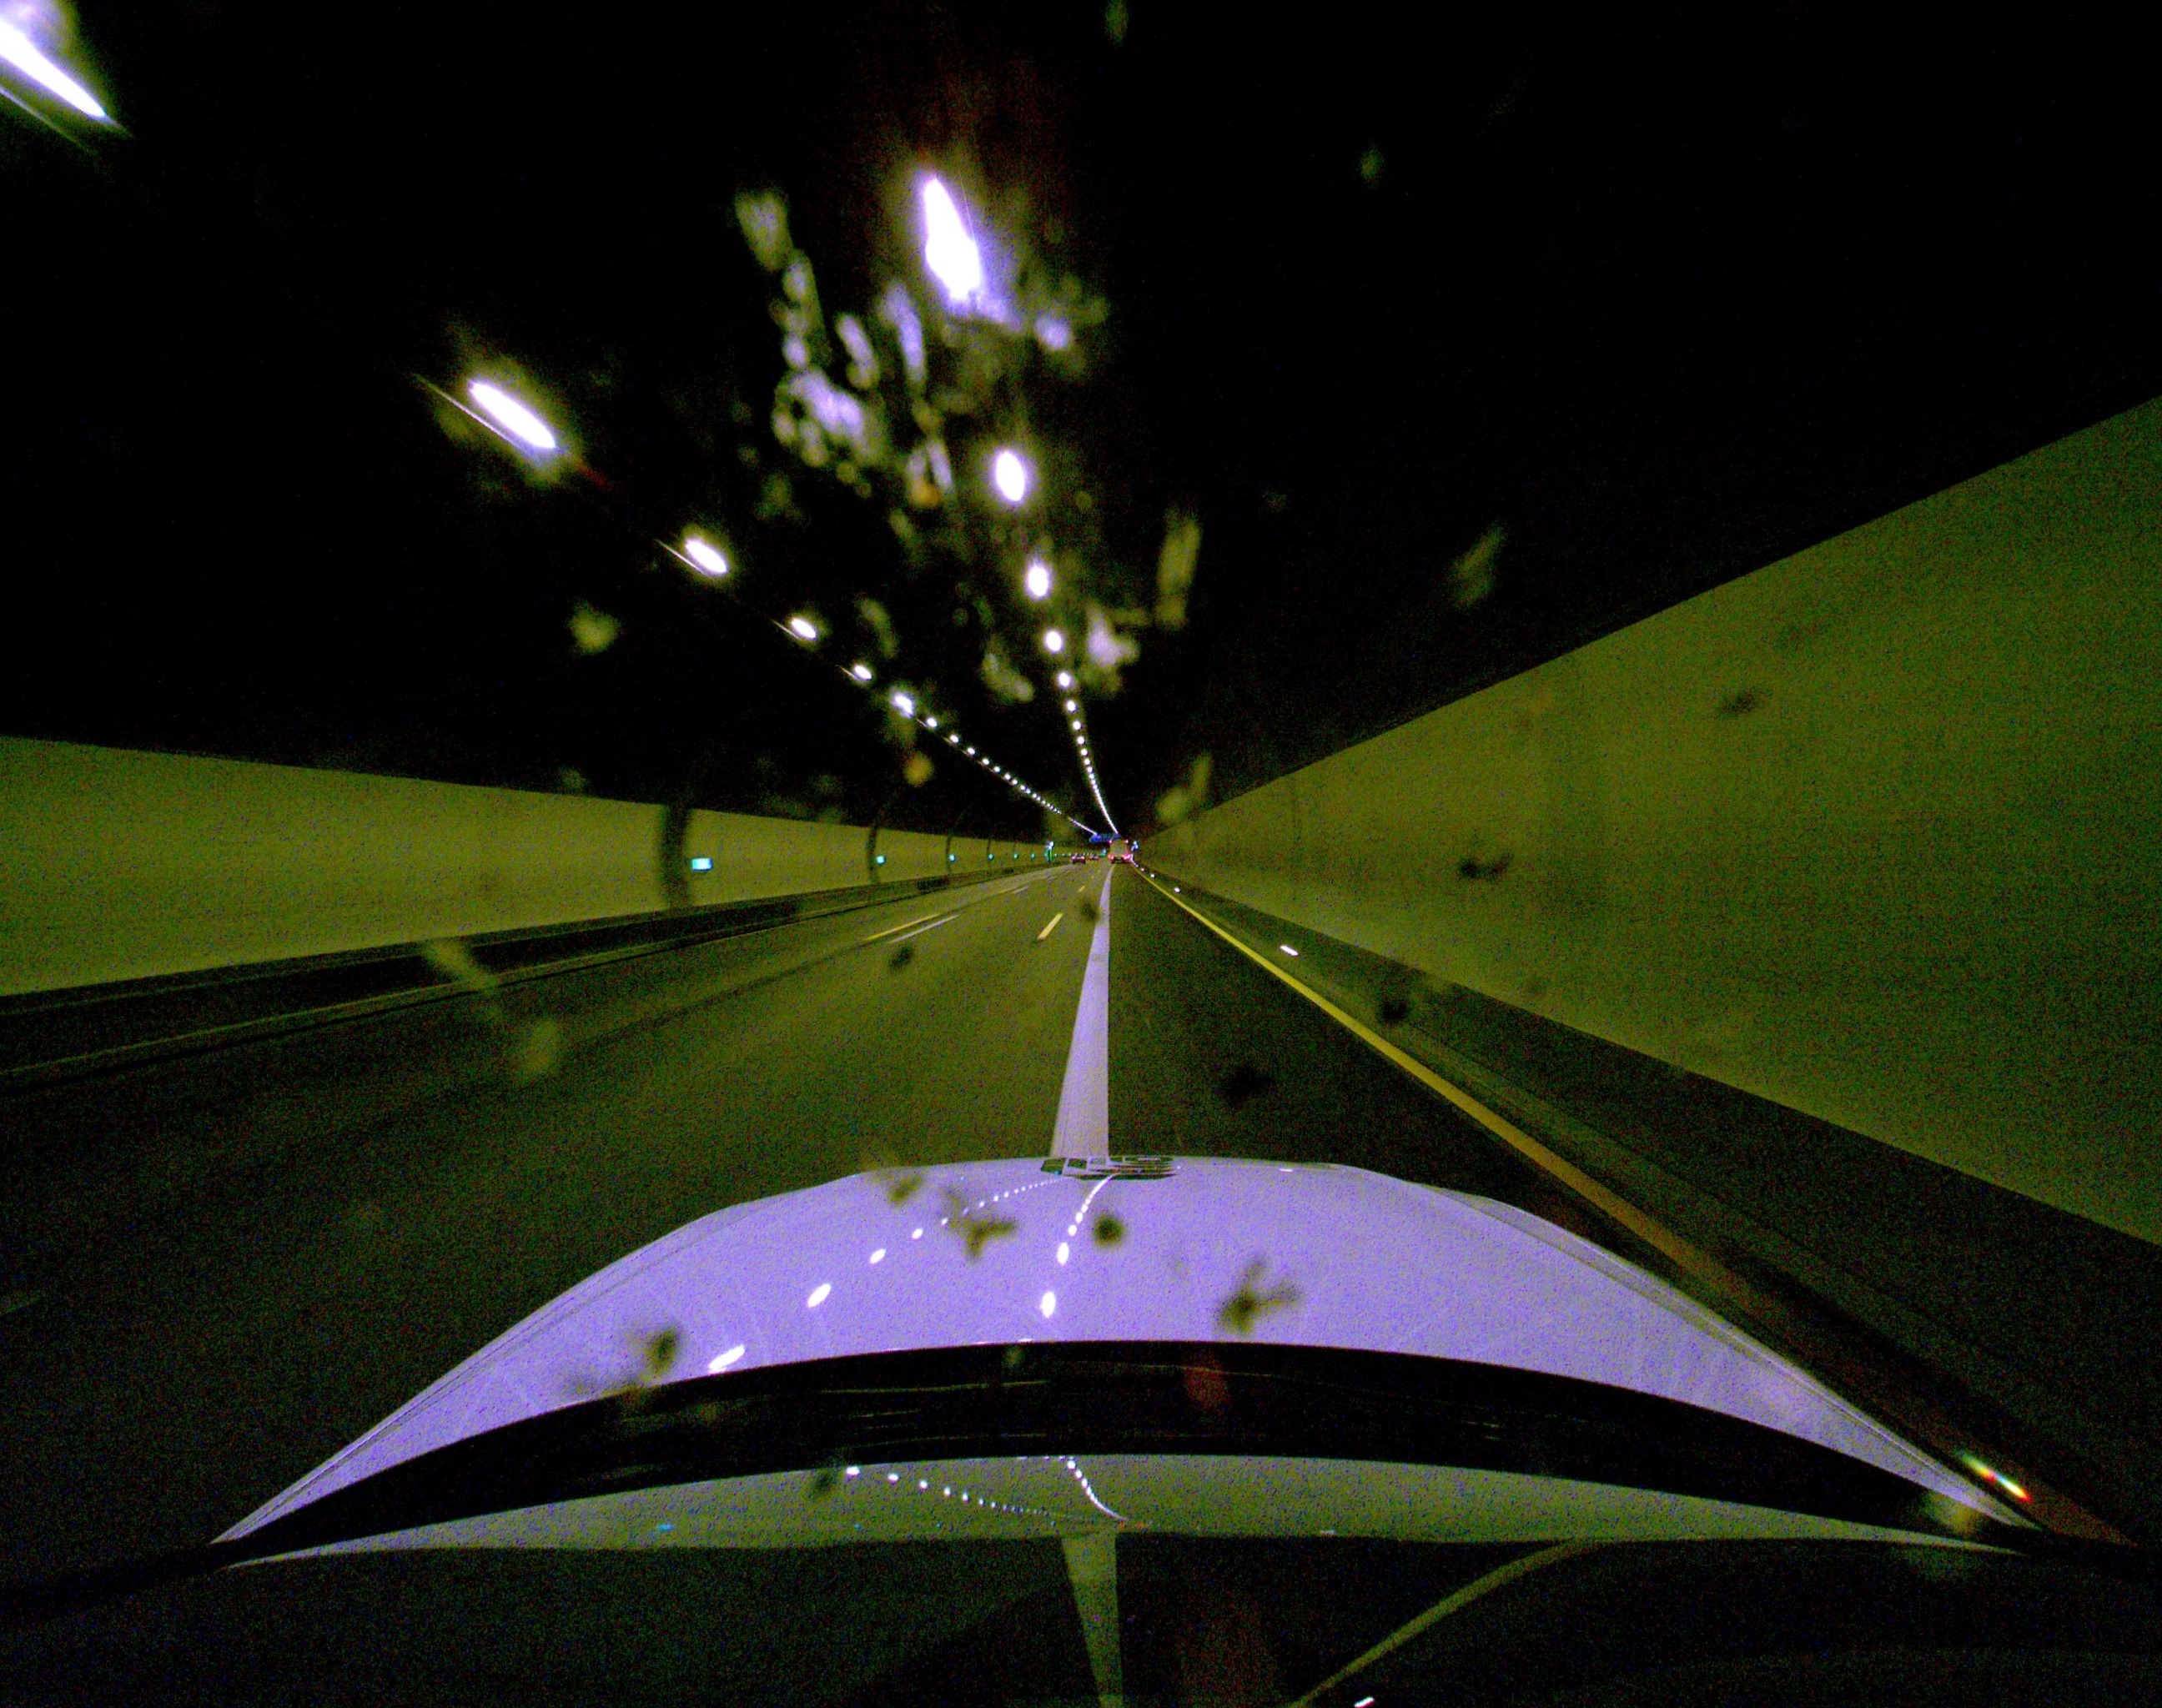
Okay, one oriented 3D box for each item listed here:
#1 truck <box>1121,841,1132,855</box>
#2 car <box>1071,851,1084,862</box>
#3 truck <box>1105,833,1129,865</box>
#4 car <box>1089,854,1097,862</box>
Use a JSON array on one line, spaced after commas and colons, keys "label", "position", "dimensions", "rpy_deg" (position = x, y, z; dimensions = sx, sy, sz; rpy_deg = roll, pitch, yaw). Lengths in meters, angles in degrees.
[{"label": "truck", "position": [13.789, -1.703, 249.134], "dimensions": [2.912, 4.047, 14.035], "rpy_deg": [-2, 0, 2]}, {"label": "car", "position": [-0.478, 0.393, 122.484], "dimensions": [1.806, 1.618, 4.001], "rpy_deg": [-1, 0, 1]}, {"label": "truck", "position": [5.684, -0.781, 130.429], "dimensions": [3.267, 4.650, 17.290], "rpy_deg": [-2, 0, 1]}, {"label": "car", "position": [2.629, 0.895, 177.166], "dimensions": [1.807, 1.520, 4.000], "rpy_deg": [-1, 2, 0]}]
